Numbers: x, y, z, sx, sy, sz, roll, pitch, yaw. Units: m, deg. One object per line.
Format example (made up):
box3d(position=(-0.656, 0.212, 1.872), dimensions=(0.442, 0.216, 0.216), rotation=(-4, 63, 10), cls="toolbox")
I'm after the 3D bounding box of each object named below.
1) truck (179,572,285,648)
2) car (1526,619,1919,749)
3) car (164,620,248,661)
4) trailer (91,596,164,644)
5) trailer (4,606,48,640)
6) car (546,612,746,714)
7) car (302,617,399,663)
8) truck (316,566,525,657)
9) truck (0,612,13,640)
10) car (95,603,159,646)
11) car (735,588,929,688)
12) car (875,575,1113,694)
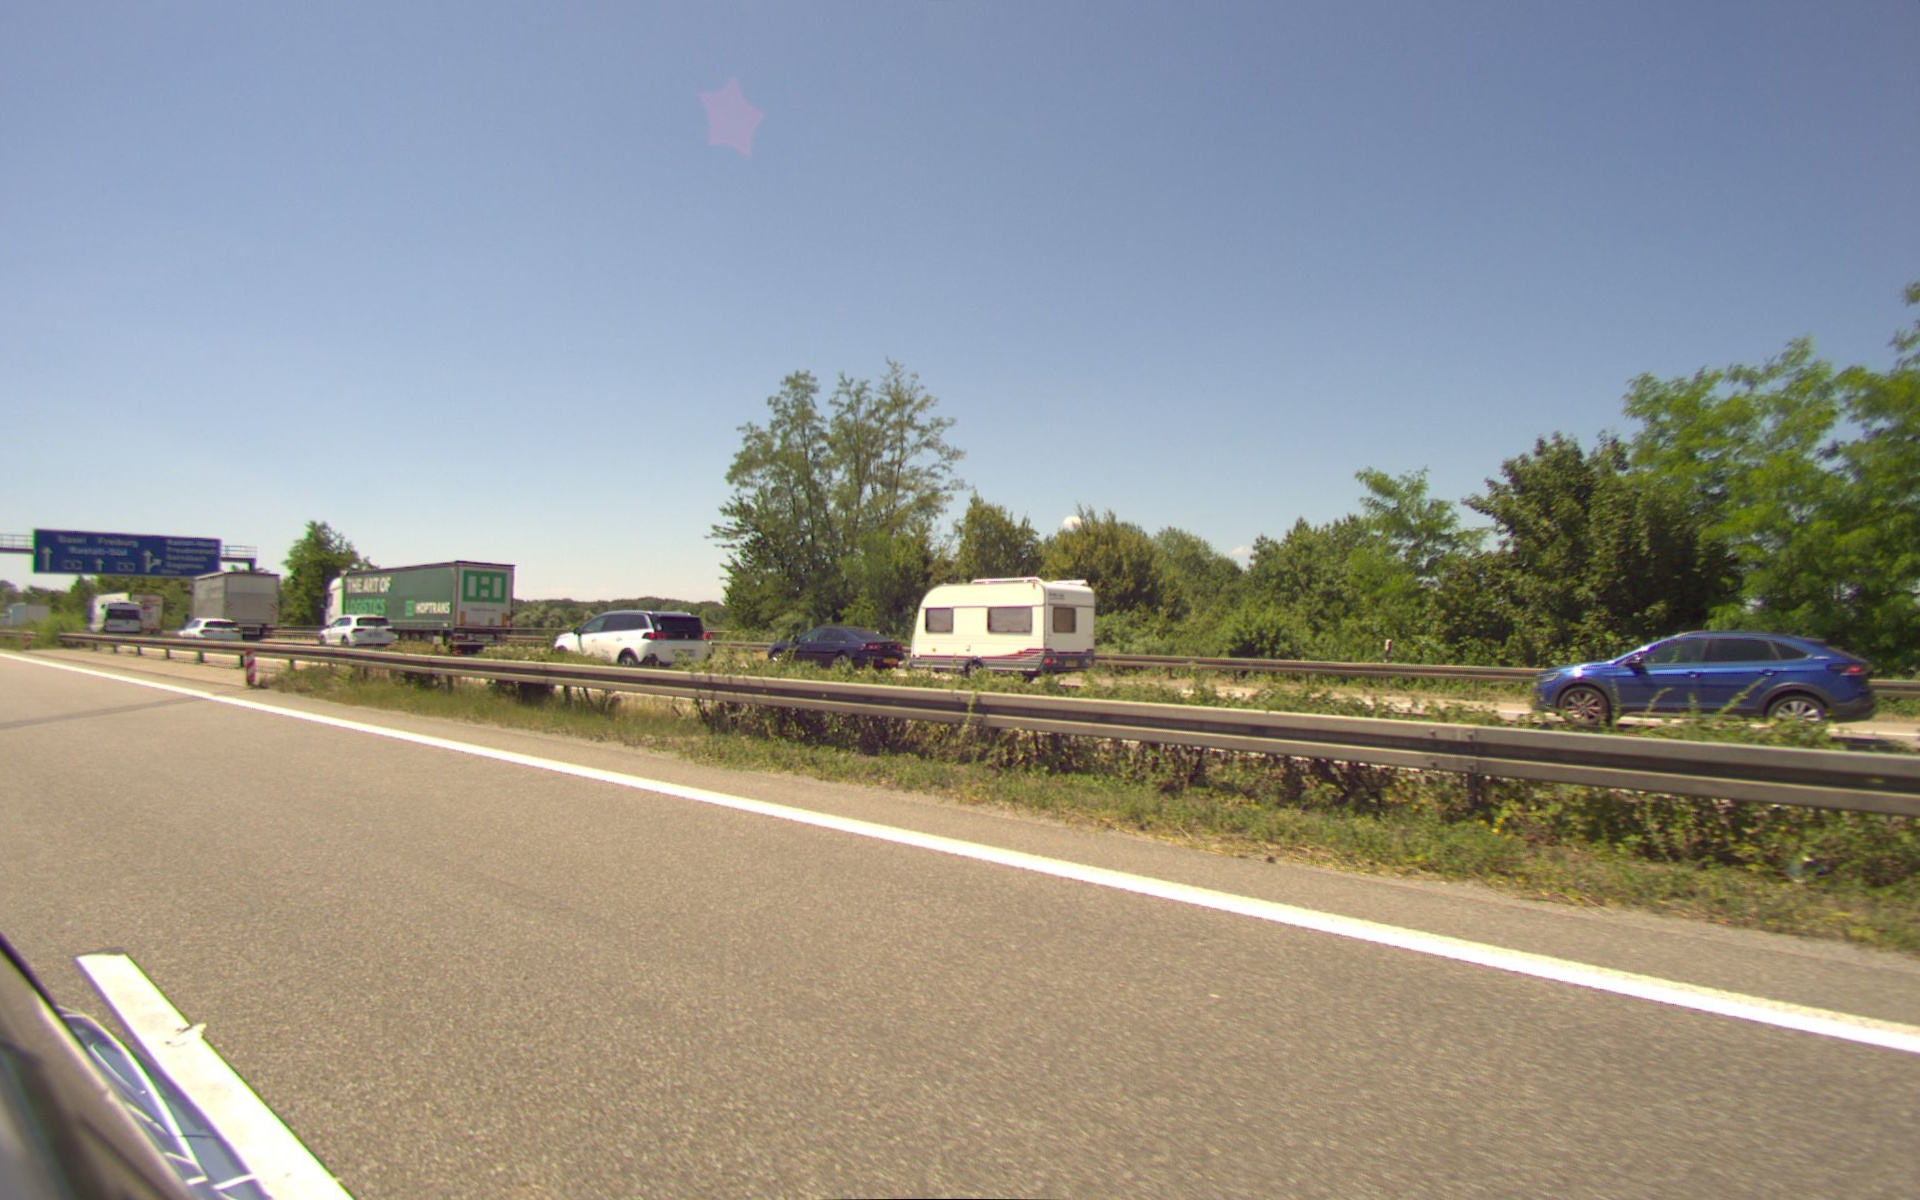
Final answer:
box3d(position=(-41.037, 0.503, 56.890), dimensions=(9.492, 3.948, 2.826), rotation=(0, 1, 42), cls="truck")
box3d(position=(11.496, 1.161, 15.283), dimensions=(4.748, 1.649, 2.457), rotation=(-1, -3, 41), cls="car")
box3d(position=(-35.041, 1.848, 46.996), dimensions=(5.105, 1.805, 2.053), rotation=(-1, -3, 41), cls="car")
box3d(position=(-77.345, 1.855, 93.877), dimensions=(13.937, 4.238, 2.716), rotation=(-1, 0, 40), cls="trailer")
box3d(position=(-124.076, 3.060, 134.395), dimensions=(13.940, 4.339, 2.715), rotation=(-1, 0, 41), cls="trailer")
box3d(position=(-7.167, 1.332, 22.892), dimensions=(4.555, 2.029, 2.274), rotation=(-1, 0, 41), cls="car")
box3d(position=(-26.246, 1.702, 43.511), dimensions=(5.105, 1.845, 2.053), rotation=(-1, -3, 41), cls="car")
box3d(position=(-26.918, 0.613, 49.650), dimensions=(17.003, 3.831, 3.211), rotation=(-1, 0, 41), cls="truck")
box3d(position=(-148.053, 4.065, 155.127), dimensions=(8.602, 4.166, 3.202), rotation=(-1, 0, 41), cls="truck")
box3d(position=(-53.215, 1.589, 64.601), dimensions=(6.035, 2.604, 2.146), rotation=(-2, -2, 41), cls="car")
box3d(position=(-3.796, 1.087, 29.384), dimensions=(5.713, 2.635, 2.393), rotation=(-1, -3, 41), cls="car")
box3d(position=(0.738, 0.860, 25.247), dimensions=(5.713, 2.635, 2.393), rotation=(-1, -3, 41), cls="car")
